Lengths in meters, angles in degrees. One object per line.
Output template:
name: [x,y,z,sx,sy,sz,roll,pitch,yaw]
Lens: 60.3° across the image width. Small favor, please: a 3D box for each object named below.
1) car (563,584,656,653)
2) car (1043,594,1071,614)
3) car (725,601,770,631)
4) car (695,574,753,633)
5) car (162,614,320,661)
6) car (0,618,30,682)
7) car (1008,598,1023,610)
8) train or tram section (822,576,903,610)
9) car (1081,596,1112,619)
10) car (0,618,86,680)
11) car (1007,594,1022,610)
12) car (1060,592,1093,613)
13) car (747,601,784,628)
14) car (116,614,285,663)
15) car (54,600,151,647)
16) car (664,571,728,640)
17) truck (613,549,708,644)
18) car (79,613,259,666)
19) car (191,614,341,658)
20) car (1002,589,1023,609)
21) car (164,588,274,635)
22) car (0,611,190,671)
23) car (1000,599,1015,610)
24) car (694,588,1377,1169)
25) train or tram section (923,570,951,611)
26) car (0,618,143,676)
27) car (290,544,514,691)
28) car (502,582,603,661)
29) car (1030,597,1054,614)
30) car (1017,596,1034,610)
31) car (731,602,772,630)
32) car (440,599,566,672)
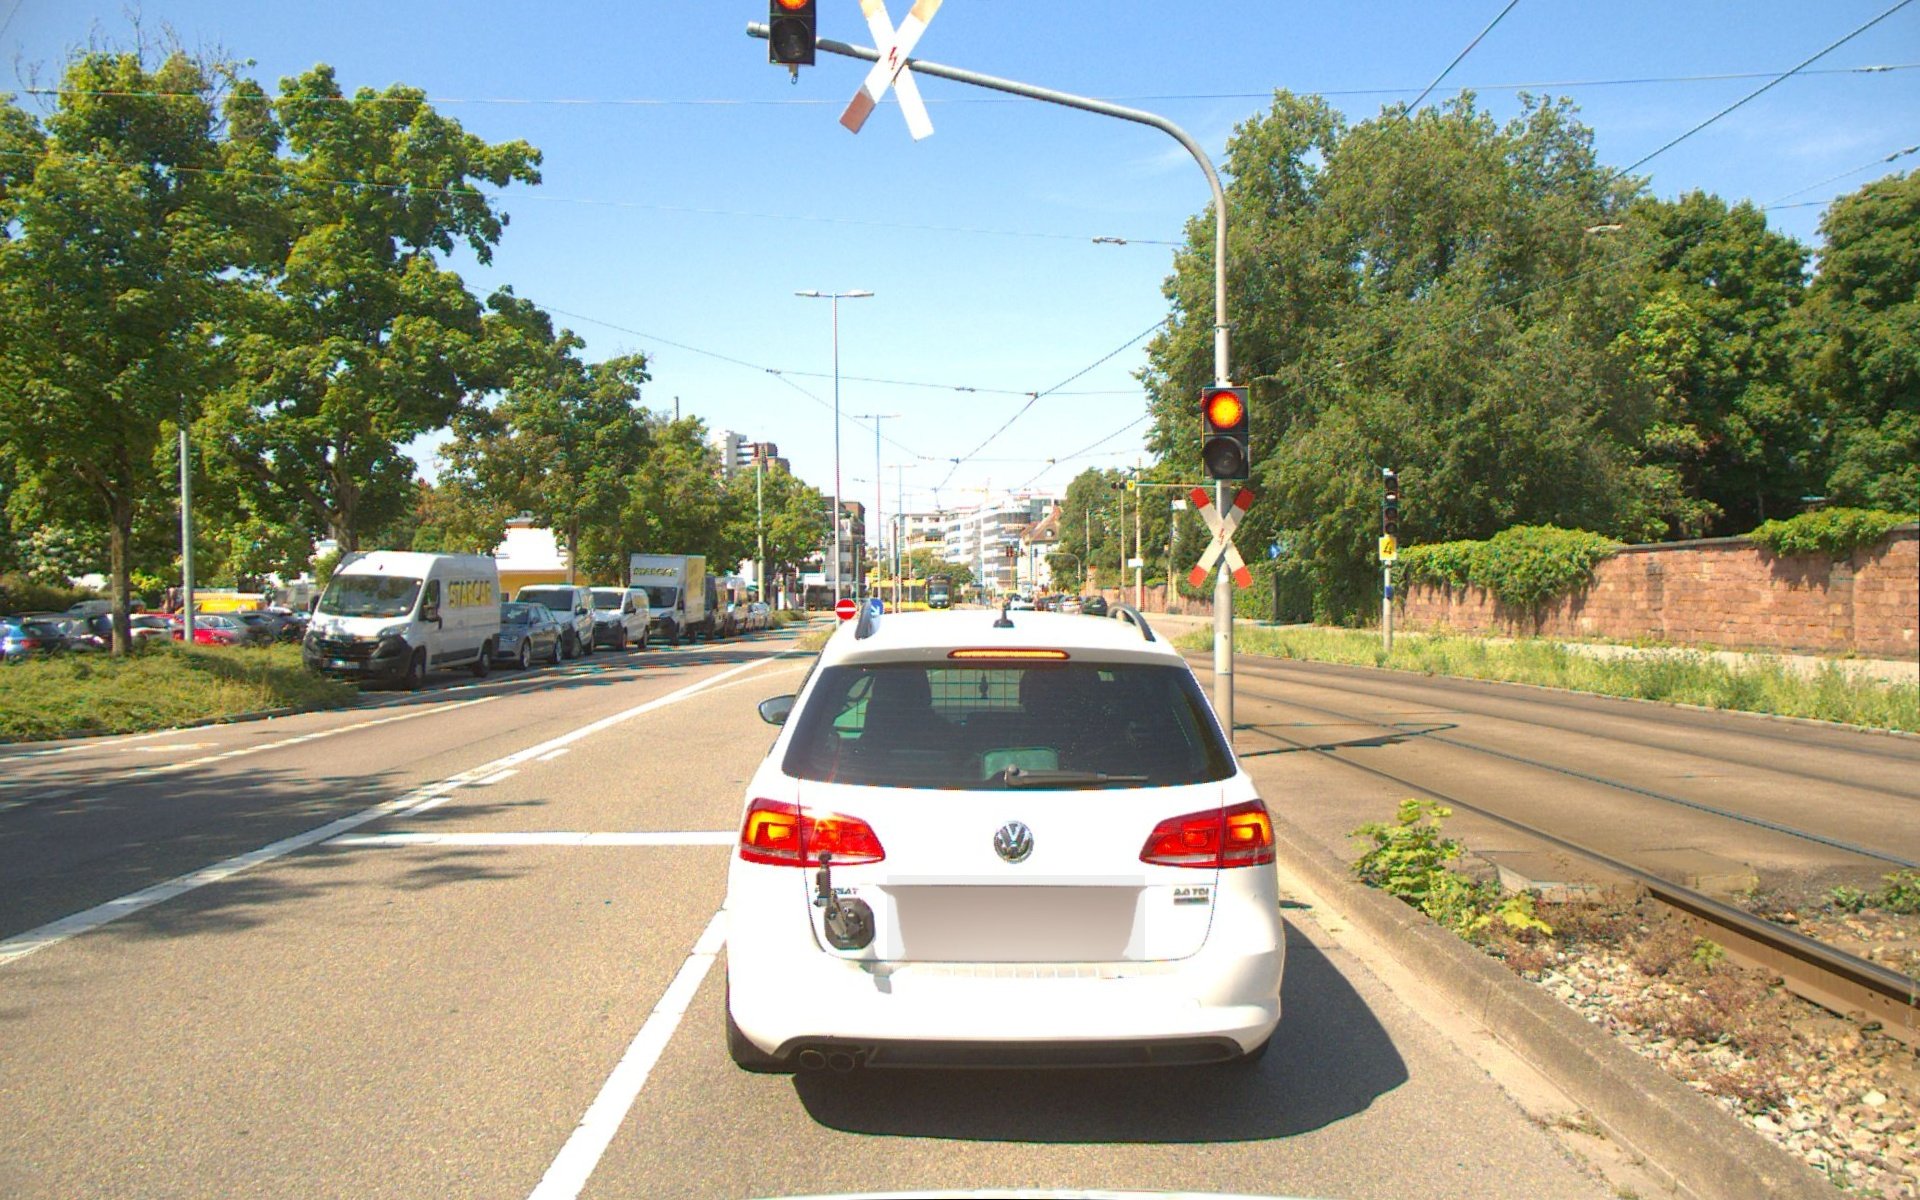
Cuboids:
car: [-10.890,0.542,51.767,1.806,1.995,5.133,-1,0,0]
car: [7.715,0.304,131.380,1.824,1.539,3.911,1,0,-2]
car: [-10.936,0.812,85.273,1.806,1.458,4.037,-1,0,-1]
car: [-10.757,0.128,75.733,1.806,2.538,5.856,-1,0,0]
car: [-21.330,1.101,49.168,3.904,1.246,1.772,-1,0,2]
car: [-20.956,1.045,32.841,3.907,1.246,1.770,-1,0,-3]
car: [6.299,0.436,188.154,1.549,1.370,3.453,1,-1,-1]
train or tram section: [-10.139,-0.720,170.104,2.288,3.310,10.645,2,-1,-41]
car: [8.533,0.445,103.749,1.709,1.412,3.914,1,0,2]
car: [-21.279,1.079,35.654,3.904,1.246,1.772,-1,0,2]
car: [6.642,0.219,201.292,1.657,1.844,3.453,1,-1,-1]
car: [8.159,0.166,116.454,1.824,1.441,4.323,1,0,-2]
car: [-11.324,0.831,96.409,1.744,1.458,4.037,-1,0,-1]
car: [-21.342,1.071,46.572,3.904,1.246,1.772,-1,0,2]
car: [-36.967,0.988,71.355,3.354,1.909,1.552,-1,0,-3]
car: [-10.803,0.210,67.941,1.806,2.715,5.003,-1,0,0]
truck: [-10.796,-0.139,60.130,2.309,3.177,6.889,-1,0,-2]
car: [-20.989,1.034,43.983,3.904,1.286,1.772,-1,0,2]
car: [-21.562,1.112,51.488,3.904,1.246,1.772,-1,0,2]
car: [7.008,-0.146,221.159,2.413,2.542,5.908,1,-1,-1]
car: [-34.210,0.539,76.483,4.175,2.049,1.997,1,-1,-7]
car: [-21.740,1.023,41.554,3.904,1.373,1.772,-1,0,2]
car: [6.775,0.671,237.719,1.953,1.624,3.999,1,-1,0]
car: [0.146,0.711,6.204,1.732,1.471,3.912,1,0,-2]
train or tram section: [-1.916,-0.783,141.891,2.254,3.309,11.272,1,-1,0]
car: [-21.609,1.111,38.875,3.904,1.246,1.772,-1,0,2]
car: [-10.720,0.286,32.394,2.016,2.544,6.309,2,0,2]
car: [-11.055,0.543,45.173,1.807,1.971,5.189,-1,0,-5]
car: [7.300,0.472,147.443,1.711,1.432,3.911,1,0,-3]
car: [6.668,0.280,169.131,1.549,1.370,3.453,1,-1,-1]
car: [-11.415,0.872,90.731,1.806,1.458,4.037,-1,0,-1]
car: [-10.548,0.776,38.458,1.806,1.543,4.196,-1,0,-1]
